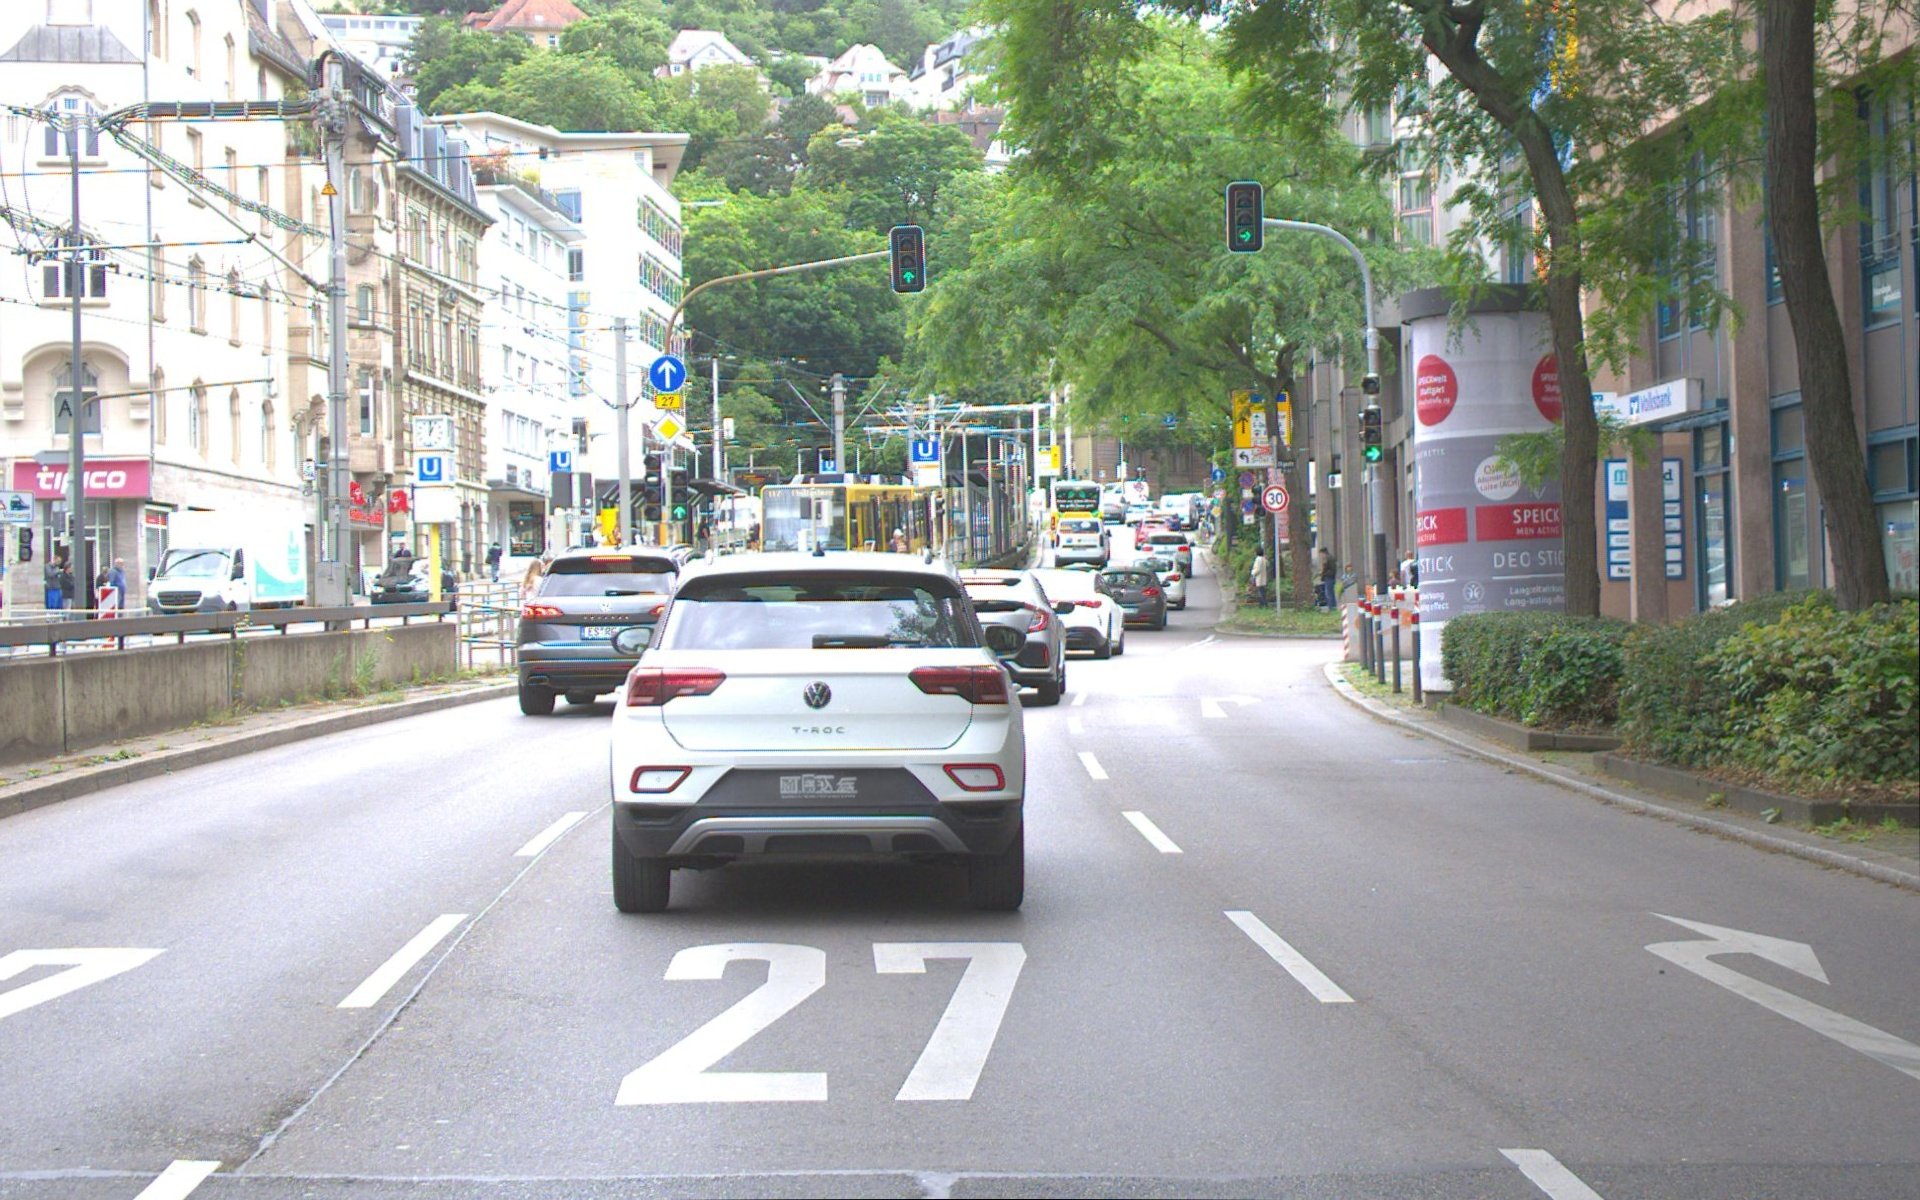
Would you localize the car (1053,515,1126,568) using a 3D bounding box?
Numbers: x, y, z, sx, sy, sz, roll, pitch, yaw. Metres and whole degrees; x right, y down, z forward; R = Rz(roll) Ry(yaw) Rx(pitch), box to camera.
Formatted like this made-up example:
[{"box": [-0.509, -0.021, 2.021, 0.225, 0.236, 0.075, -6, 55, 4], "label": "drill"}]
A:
[{"box": [5.048, -2.240, 133.447, 2.365, 2.007, 5.146, 0, 0, 7], "label": "car"}]

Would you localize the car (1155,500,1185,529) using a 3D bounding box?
[{"box": [11.864, -4.823, 193.841, 1.673, 1.555, 3.678, 0, 0, 4], "label": "car"}]

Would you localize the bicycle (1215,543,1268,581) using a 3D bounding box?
[{"box": [9.113, -1.230, 111.311, 1.620, 1.124, 0.613, -3, 1, 8], "label": "bicycle"}]

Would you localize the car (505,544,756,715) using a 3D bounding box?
[{"box": [-3.285, 0.265, 34.998, 1.994, 1.630, 4.000, 0, 0, 3], "label": "car"}]

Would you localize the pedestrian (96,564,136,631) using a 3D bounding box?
[{"box": [-21.302, -0.070, 86.798, 0.674, 1.671, 0.690, 0, 1, 22], "label": "pedestrian"}]

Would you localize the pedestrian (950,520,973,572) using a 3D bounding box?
[{"box": [0.047, -1.780, 114.262, 0.718, 1.725, 0.670, 0, 0, 5], "label": "pedestrian"}]

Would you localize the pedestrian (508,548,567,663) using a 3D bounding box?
[{"box": [-6.362, 0.079, 51.807, 0.764, 1.715, 0.637, -1, 1, 4], "label": "pedestrian"}]

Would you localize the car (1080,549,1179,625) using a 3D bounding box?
[{"box": [4.610, -0.377, 94.154, 2.364, 2.007, 5.148, 0, 0, -1], "label": "car"}]

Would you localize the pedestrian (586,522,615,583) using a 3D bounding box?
[{"box": [-10.137, -1.338, 97.004, 0.688, 1.705, 0.662, -1, 1, 3], "label": "pedestrian"}]

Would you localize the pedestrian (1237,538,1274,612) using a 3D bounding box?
[{"box": [7.344, -0.630, 85.480, 0.693, 1.771, 0.689, -5, 1, 0], "label": "pedestrian"}]

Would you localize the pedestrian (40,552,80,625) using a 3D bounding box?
[{"box": [-22.162, -0.284, 84.652, 0.710, 1.774, 0.595, 0, 1, 20], "label": "pedestrian"}]

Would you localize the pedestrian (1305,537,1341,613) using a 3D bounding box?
[{"box": [8.871, -0.621, 84.106, 0.721, 1.796, 0.834, -3, 3, 0], "label": "pedestrian"}]

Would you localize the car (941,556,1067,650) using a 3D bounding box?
[{"box": [1.013, 0.045, 75.983, 2.365, 2.007, 5.147, 0, 0, 6], "label": "car"}]

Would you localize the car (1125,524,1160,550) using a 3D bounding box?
[{"box": [8.572, -2.966, 161.446, 1.582, 1.168, 3.678, 0, 0, 4], "label": "car"}]

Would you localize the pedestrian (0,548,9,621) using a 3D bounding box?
[{"box": [-23.548, -0.375, 83.663, 0.575, 1.774, 0.511, 0, 1, 9], "label": "pedestrian"}]

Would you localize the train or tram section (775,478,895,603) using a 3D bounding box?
[{"box": [-3.598, -1.753, 100.213, 2.835, 3.509, 5.751, 0, 1, 5], "label": "train or tram section"}]

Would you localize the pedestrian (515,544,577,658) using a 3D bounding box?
[{"box": [-6.315, 0.015, 52.499, 0.792, 1.715, 0.772, -1, 1, 4], "label": "pedestrian"}]

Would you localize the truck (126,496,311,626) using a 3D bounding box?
[{"box": [-18.263, -0.950, 85.101, 2.267, 3.066, 7.372, 0, 0, 6], "label": "truck"}]

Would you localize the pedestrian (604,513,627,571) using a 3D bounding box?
[{"box": [-10.142, -1.704, 101.186, 0.635, 1.705, 0.690, -1, 1, -5], "label": "pedestrian"}]

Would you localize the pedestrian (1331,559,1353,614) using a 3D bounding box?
[{"box": [9.247, -0.329, 83.160, 0.471, 1.329, 0.520, 0, 0, 0], "label": "pedestrian"}]

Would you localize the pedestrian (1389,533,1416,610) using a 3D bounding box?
[{"box": [10.350, -0.666, 80.341, 0.518, 1.783, 0.764, 0, 0, 0], "label": "pedestrian"}]

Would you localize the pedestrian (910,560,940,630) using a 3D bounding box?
[{"box": [-0.858, -0.135, 84.731, 0.635, 1.705, 0.871, -1, 1, 4], "label": "pedestrian"}]

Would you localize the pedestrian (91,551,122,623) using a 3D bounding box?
[{"box": [-21.164, -0.335, 85.234, 0.510, 1.774, 0.576, 0, 1, 18], "label": "pedestrian"}]

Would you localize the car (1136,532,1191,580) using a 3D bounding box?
[{"box": [7.285, -1.558, 123.080, 1.885, 1.678, 4.160, 0, 0, 4], "label": "car"}]

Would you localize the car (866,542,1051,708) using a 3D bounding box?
[{"box": [0.020, 0.236, 37.185, 1.885, 1.678, 4.161, 0, 0, 1], "label": "car"}]

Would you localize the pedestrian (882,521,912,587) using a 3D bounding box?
[{"box": [-1.651, -1.206, 90.097, 0.685, 1.705, 0.712, -1, 1, 4], "label": "pedestrian"}]

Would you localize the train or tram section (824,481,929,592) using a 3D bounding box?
[{"box": [-2.673, -2.088, 111.709, 2.835, 3.509, 5.751, 0, 1, 5], "label": "train or tram section"}]

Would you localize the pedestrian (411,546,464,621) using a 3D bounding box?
[{"box": [-11.983, -0.380, 78.847, 0.876, 1.699, 0.811, 0, 1, 33], "label": "pedestrian"}]

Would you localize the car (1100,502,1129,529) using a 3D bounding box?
[{"box": [9.338, -5.131, 207.882, 1.673, 1.555, 3.986, 0, 0, 4], "label": "car"}]

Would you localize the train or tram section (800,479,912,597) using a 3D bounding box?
[{"box": [-3.149, -1.936, 105.948, 2.835, 3.509, 5.751, 0, 1, 5], "label": "train or tram section"}]

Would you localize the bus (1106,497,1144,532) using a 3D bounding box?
[{"box": [9.722, -5.025, 202.387, 1.993, 2.007, 4.000, 0, 0, -1], "label": "bus"}]

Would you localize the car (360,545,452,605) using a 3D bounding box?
[{"box": [-16.716, -0.756, 103.914, 1.674, 1.753, 4.781, 0, 0, 4], "label": "car"}]

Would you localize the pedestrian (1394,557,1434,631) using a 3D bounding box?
[{"box": [10.273, -0.143, 77.741, 0.762, 1.606, 0.618, -2, 3, 16], "label": "pedestrian"}]

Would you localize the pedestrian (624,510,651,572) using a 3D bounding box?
[{"box": [-9.278, -1.704, 98.985, 0.627, 1.756, 0.846, -1, 1, 5], "label": "pedestrian"}]

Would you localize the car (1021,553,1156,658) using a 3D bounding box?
[{"box": [2.089, 0.072, 57.033, 1.884, 1.678, 4.162, 0, 0, -3], "label": "car"}]

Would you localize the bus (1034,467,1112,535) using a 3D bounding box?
[{"box": [5.657, -4.820, 169.706, 3.372, 3.054, 13.323, 0, 0, 4], "label": "bus"}]

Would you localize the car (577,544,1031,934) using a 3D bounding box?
[{"box": [-0.724, 0.550, 16.063, 1.837, 1.578, 4.157, 0, 0, -3], "label": "car"}]

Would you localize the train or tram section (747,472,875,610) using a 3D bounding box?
[{"box": [-4.042, -1.635, 94.465, 2.835, 3.666, 5.751, 0, 1, 5], "label": "train or tram section"}]
